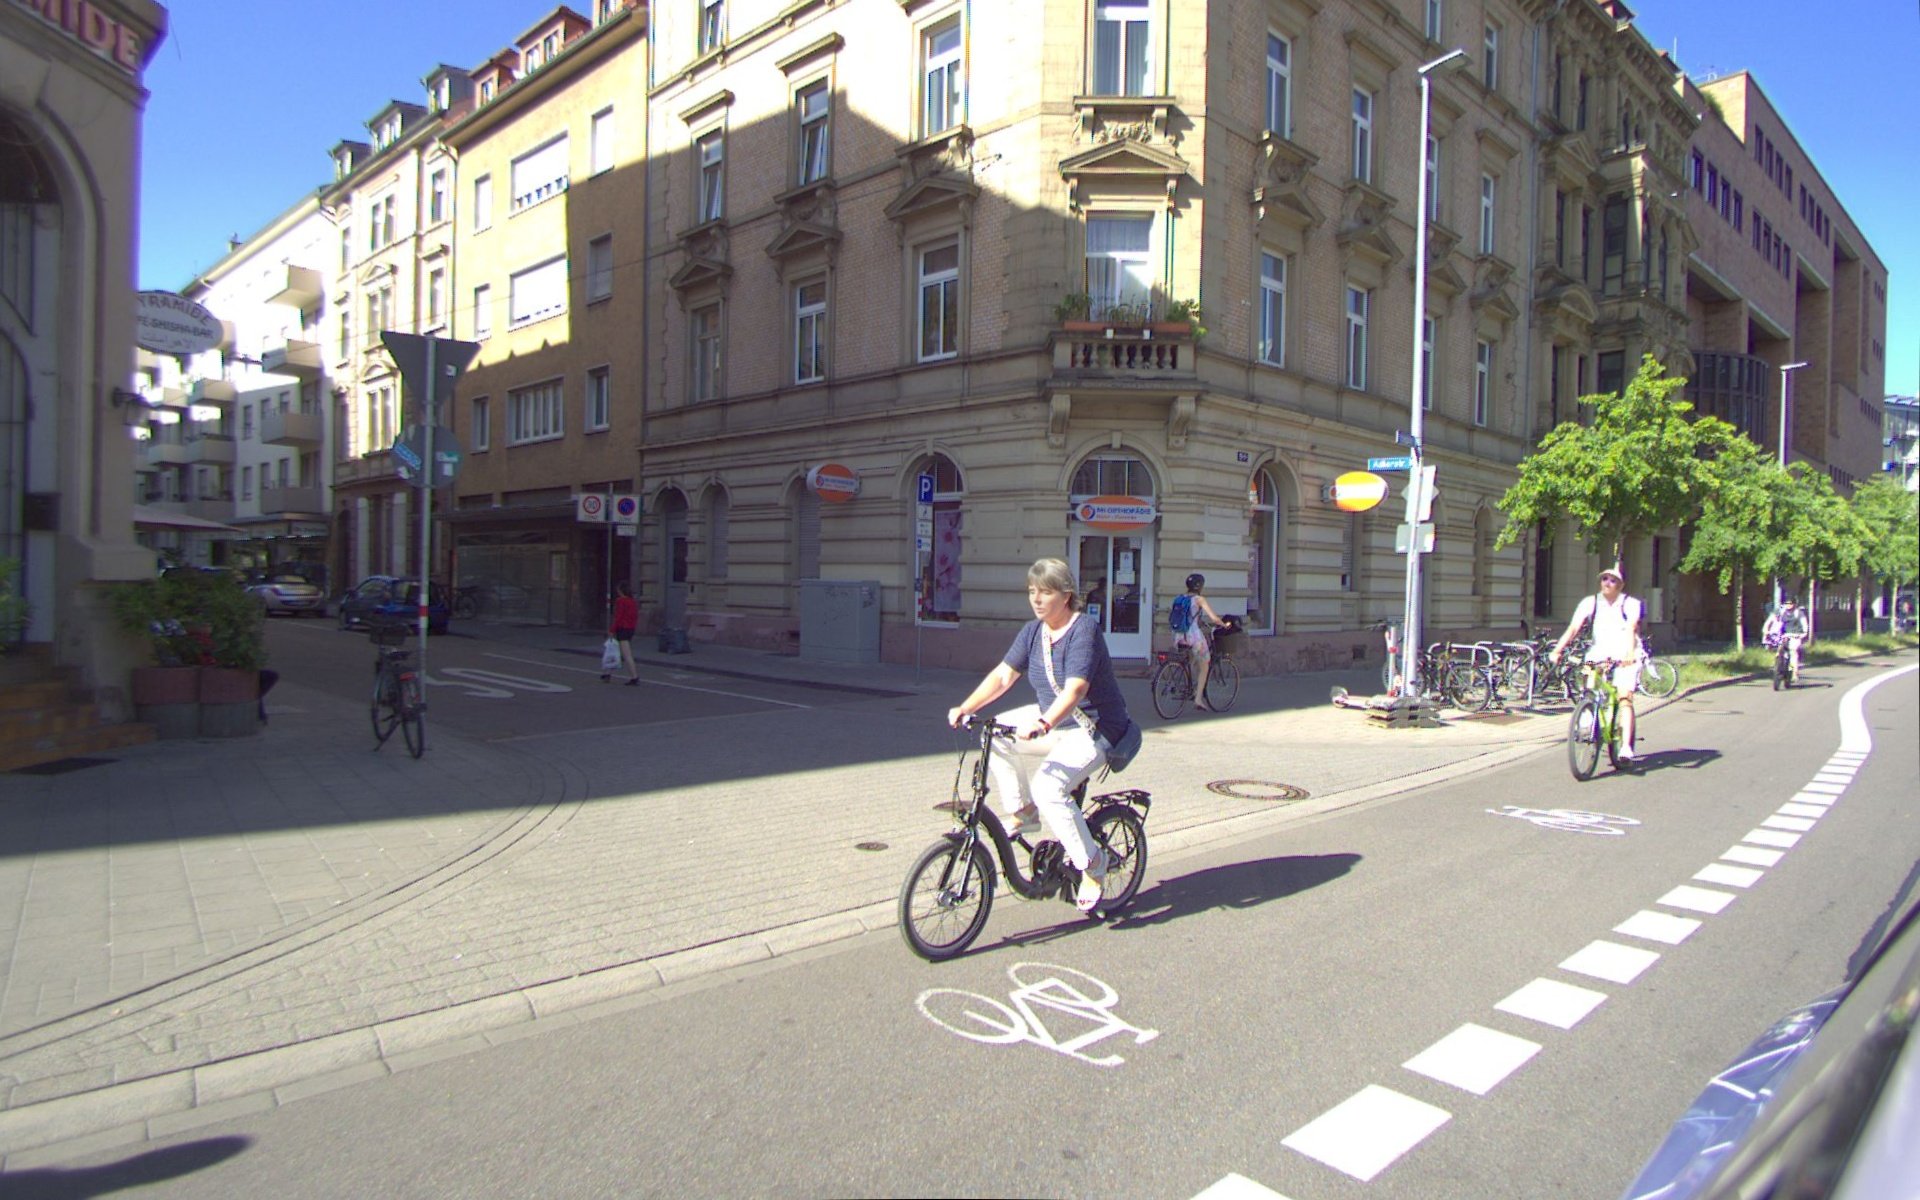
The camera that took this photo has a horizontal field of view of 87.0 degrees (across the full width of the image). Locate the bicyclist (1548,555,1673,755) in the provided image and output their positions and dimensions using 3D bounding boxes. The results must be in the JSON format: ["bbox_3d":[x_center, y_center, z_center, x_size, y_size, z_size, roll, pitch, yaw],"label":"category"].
[{"bbox_3d":[5.840,0.461,9.084,0.960,1.678,0.699,1,-1,-41],"label":"bicyclist"}]

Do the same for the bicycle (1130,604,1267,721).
[{"bbox_3d":[2.931,0.709,12.299,2.062,1.268,0.578,-1,2,-43],"label":"bicycle"}]

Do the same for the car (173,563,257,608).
[{"bbox_3d":[-26.251,-0.522,35.625,3.425,1.424,1.605,3,0,41],"label":"car"}]

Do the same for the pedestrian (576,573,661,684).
[{"bbox_3d":[-5.087,0.399,15.122,0.824,1.594,0.901,0,0,22],"label":"pedestrian"}]

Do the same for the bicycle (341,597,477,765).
[{"bbox_3d":[-4.971,0.657,9.043,0.801,1.247,2.221,4,-1,-34],"label":"bicycle"}]

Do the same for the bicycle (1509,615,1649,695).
[{"bbox_3d":[10.271,0.878,16.830,1.115,1.074,1.677,0,5,-42],"label":"bicycle"}]

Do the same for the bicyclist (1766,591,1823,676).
[{"bbox_3d":[16.440,0.638,19.927,0.879,1.625,0.724,1,-1,-41],"label":"bicyclist"}]

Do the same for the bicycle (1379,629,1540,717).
[{"bbox_3d":[6.687,0.943,13.655,0.580,0.922,1.910,0,3,-32],"label":"bicycle"}]

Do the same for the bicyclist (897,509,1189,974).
[{"bbox_3d":[0.367,0.530,4.456,0.971,1.749,0.853,1,-1,-41],"label":"bicyclist"}]

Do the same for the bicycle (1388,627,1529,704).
[{"bbox_3d":[6.990,0.896,14.259,0.488,0.937,1.716,0,1,-40],"label":"bicycle"}]

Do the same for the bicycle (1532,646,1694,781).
[{"bbox_3d":[5.928,0.964,9.139,1.918,1.019,0.724,0,0,-41],"label":"bicycle"}]

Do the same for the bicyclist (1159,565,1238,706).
[{"bbox_3d":[2.885,0.404,12.238,0.781,1.637,0.578,0,1,-43],"label":"bicyclist"}]

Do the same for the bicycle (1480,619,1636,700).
[{"bbox_3d":[9.456,0.904,16.050,1.013,1.043,1.901,0,4,-43],"label":"bicycle"}]

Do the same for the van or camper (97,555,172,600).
[{"bbox_3d":[-37.828,-1.057,46.333,4.527,1.867,1.857,3,0,41],"label":"van or camper"}]

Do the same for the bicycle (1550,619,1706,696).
[{"bbox_3d":[11.509,0.961,17.500,0.833,1.054,2.062,0,4,-41],"label":"bicycle"}]

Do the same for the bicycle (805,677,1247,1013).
[{"bbox_3d":[0.360,0.919,4.448,1.918,1.019,0.829,0,0,-41],"label":"bicycle"}]

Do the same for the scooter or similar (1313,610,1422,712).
[{"bbox_3d":[5.246,0.756,13.054,0.479,1.213,1.197,1,1,-45],"label":"scooter or similar"}]

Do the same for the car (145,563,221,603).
[{"bbox_3d":[-30.008,-0.664,39.067,3.425,1.424,1.605,3,0,41],"label":"car"}]

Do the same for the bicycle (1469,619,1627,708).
[{"bbox_3d":[8.564,0.897,14.804,0.598,1.061,1.873,0,4,-45],"label":"bicycle"}]

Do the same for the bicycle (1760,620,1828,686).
[{"bbox_3d":[16.401,1.006,19.889,1.918,1.209,0.724,0,-1,-41],"label":"bicycle"}]

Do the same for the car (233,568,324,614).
[{"bbox_3d":[-21.121,-0.294,31.326,3.376,1.338,1.604,1,1,42],"label":"car"}]

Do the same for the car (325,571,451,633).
[{"bbox_3d":[-14.659,0.017,25.862,3.686,1.428,1.594,2,1,39],"label":"car"}]
